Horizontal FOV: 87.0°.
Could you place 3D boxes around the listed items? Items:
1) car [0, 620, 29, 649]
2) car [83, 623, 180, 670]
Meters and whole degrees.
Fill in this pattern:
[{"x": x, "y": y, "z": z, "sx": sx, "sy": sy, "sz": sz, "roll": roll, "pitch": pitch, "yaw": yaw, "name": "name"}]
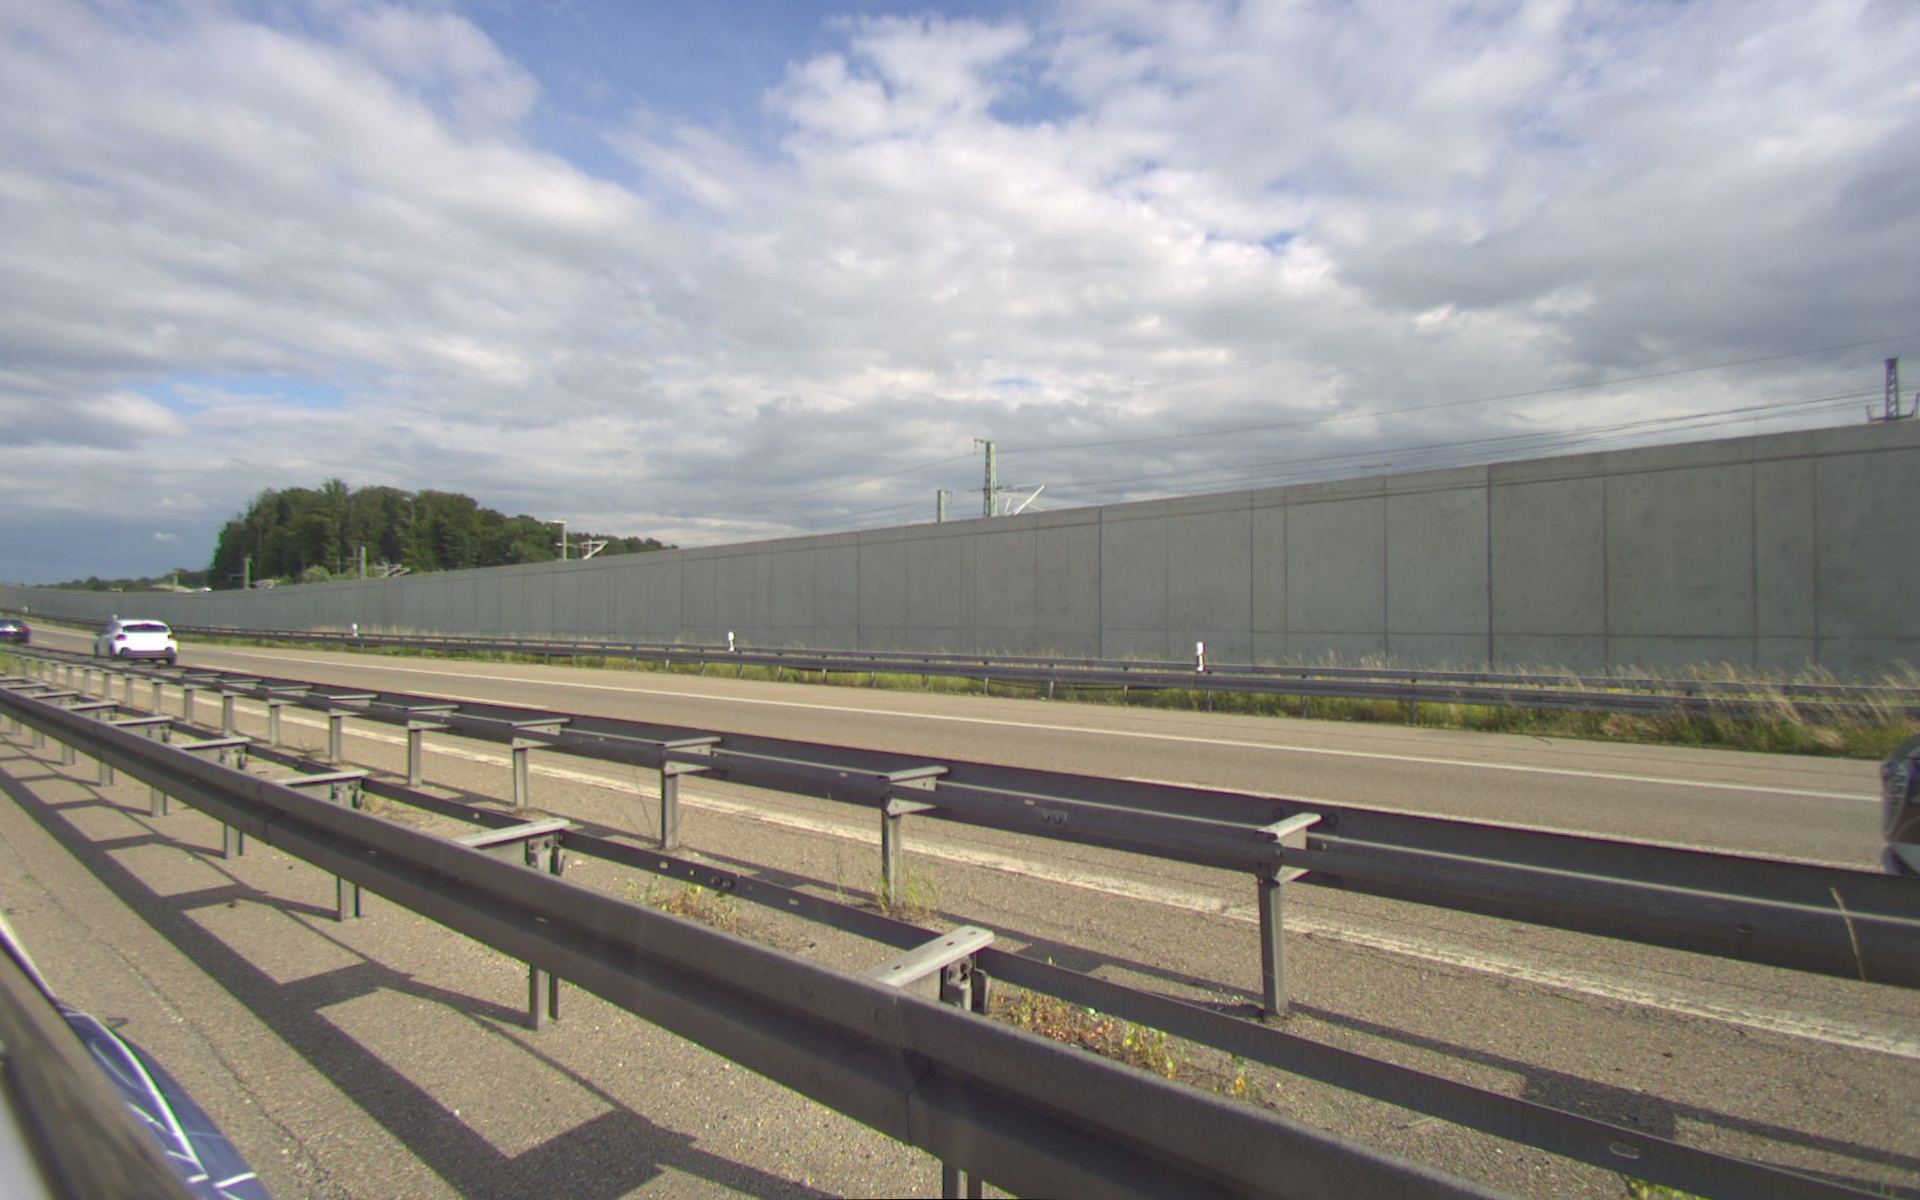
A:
[{"x": -50.452, "y": 1.813, "z": 52.980, "sx": 4.442, "sy": 1.474, "sz": 1.787, "roll": -1, "pitch": -1, "yaw": 37, "name": "car"}, {"x": -27.748, "y": 1.520, "z": 33.854, "sx": 4.446, "sy": 1.474, "sz": 1.699, "roll": -1, "pitch": -1, "yaw": 40, "name": "car"}]
